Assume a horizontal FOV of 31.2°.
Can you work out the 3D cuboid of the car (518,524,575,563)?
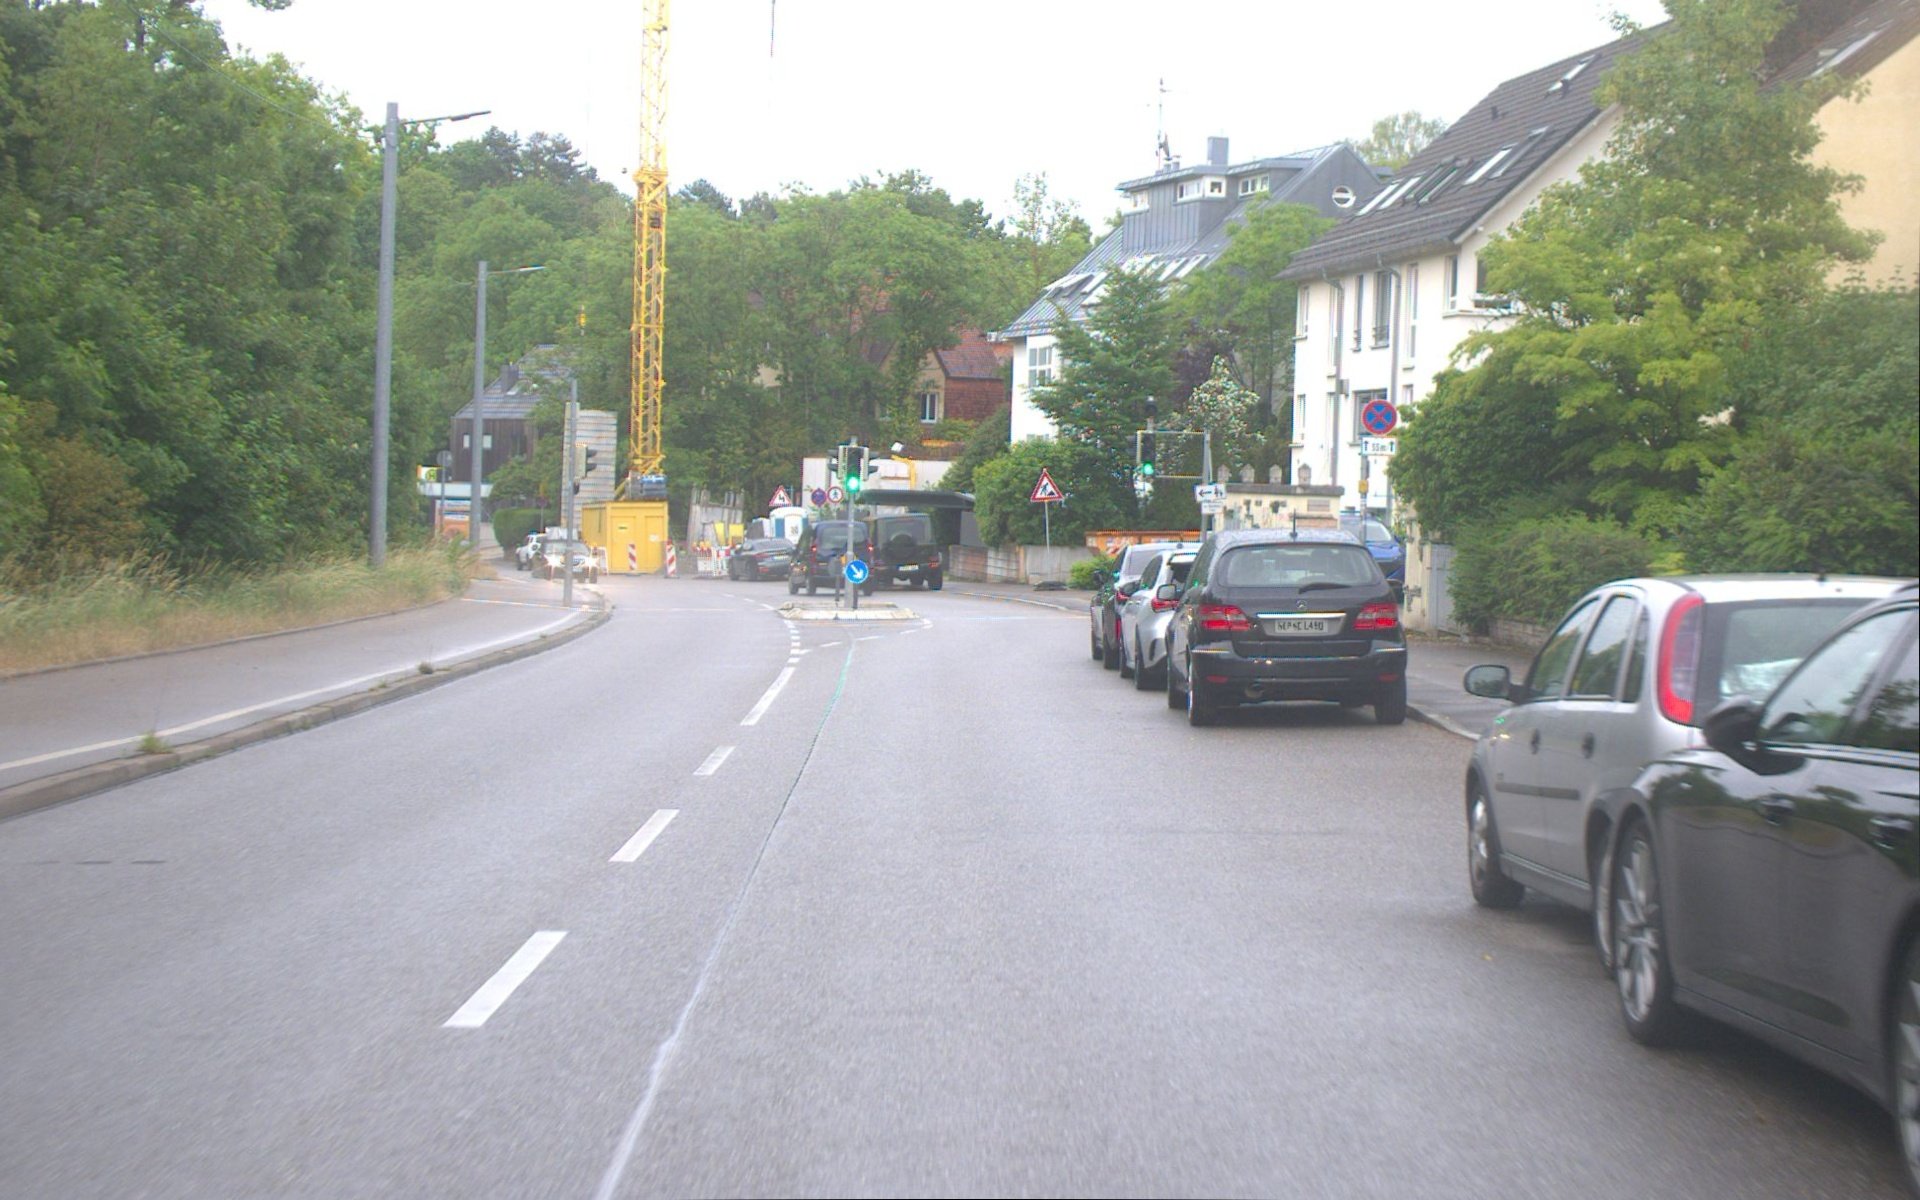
[{"bbox_3d":[-18.659,-2.551,155.025,1.744,1.700,4.503,-2,2,-17],"label":"car"}]

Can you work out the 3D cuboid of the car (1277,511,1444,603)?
[{"bbox_3d":[7.584,-0.818,65.477,1.931,1.590,4.343,3,0,-10],"label":"car"}]

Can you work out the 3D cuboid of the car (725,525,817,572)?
[{"bbox_3d":[-6.293,-1.729,113.937,1.931,1.417,4.839,2,1,-16],"label":"car"}]

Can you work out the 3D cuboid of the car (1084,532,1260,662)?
[{"bbox_3d":[2.458,-0.052,40.777,1.751,1.438,4.601,1,0,0],"label":"car"}]

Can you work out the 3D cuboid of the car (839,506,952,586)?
[{"bbox_3d":[-1.739,-1.423,90.707,1.993,2.007,4.958,-2,1,-12],"label":"car"}]

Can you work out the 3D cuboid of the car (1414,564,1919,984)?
[{"bbox_3d":[3.033,0.575,13.508,1.813,1.393,4.103,1,0,-2],"label":"car"}]

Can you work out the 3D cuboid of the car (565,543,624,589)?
[{"bbox_3d":[-11.858,-1.104,111.687,1.743,1.455,4.415,0,1,-4],"label":"car"}]

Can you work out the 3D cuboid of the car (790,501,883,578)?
[{"bbox_3d":[-3.068,-1.472,84.728,1.931,1.745,4.001,3,0,-6],"label":"car"}]

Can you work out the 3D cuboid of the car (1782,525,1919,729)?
[{"bbox_3d":[8.483,0.206,25.608,4.245,1.455,1.882,1,0,-1],"label":"car"}]

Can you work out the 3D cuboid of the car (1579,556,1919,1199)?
[{"bbox_3d":[2.949,0.679,8.741,1.830,1.542,4.630,1,0,-1],"label":"car"}]

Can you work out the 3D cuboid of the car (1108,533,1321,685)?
[{"bbox_3d":[2.591,0.079,35.944,1.793,1.481,4.495,1,0,-1],"label":"car"}]

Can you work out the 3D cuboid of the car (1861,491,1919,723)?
[{"bbox_3d":[8.266,0.004,23.536,3.657,1.561,1.882,-1,1,-1],"label":"car"}]

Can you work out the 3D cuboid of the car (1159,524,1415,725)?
[{"bbox_3d":[2.710,0.146,29.396,1.730,1.562,4.522,0,1,0],"label":"car"}]
